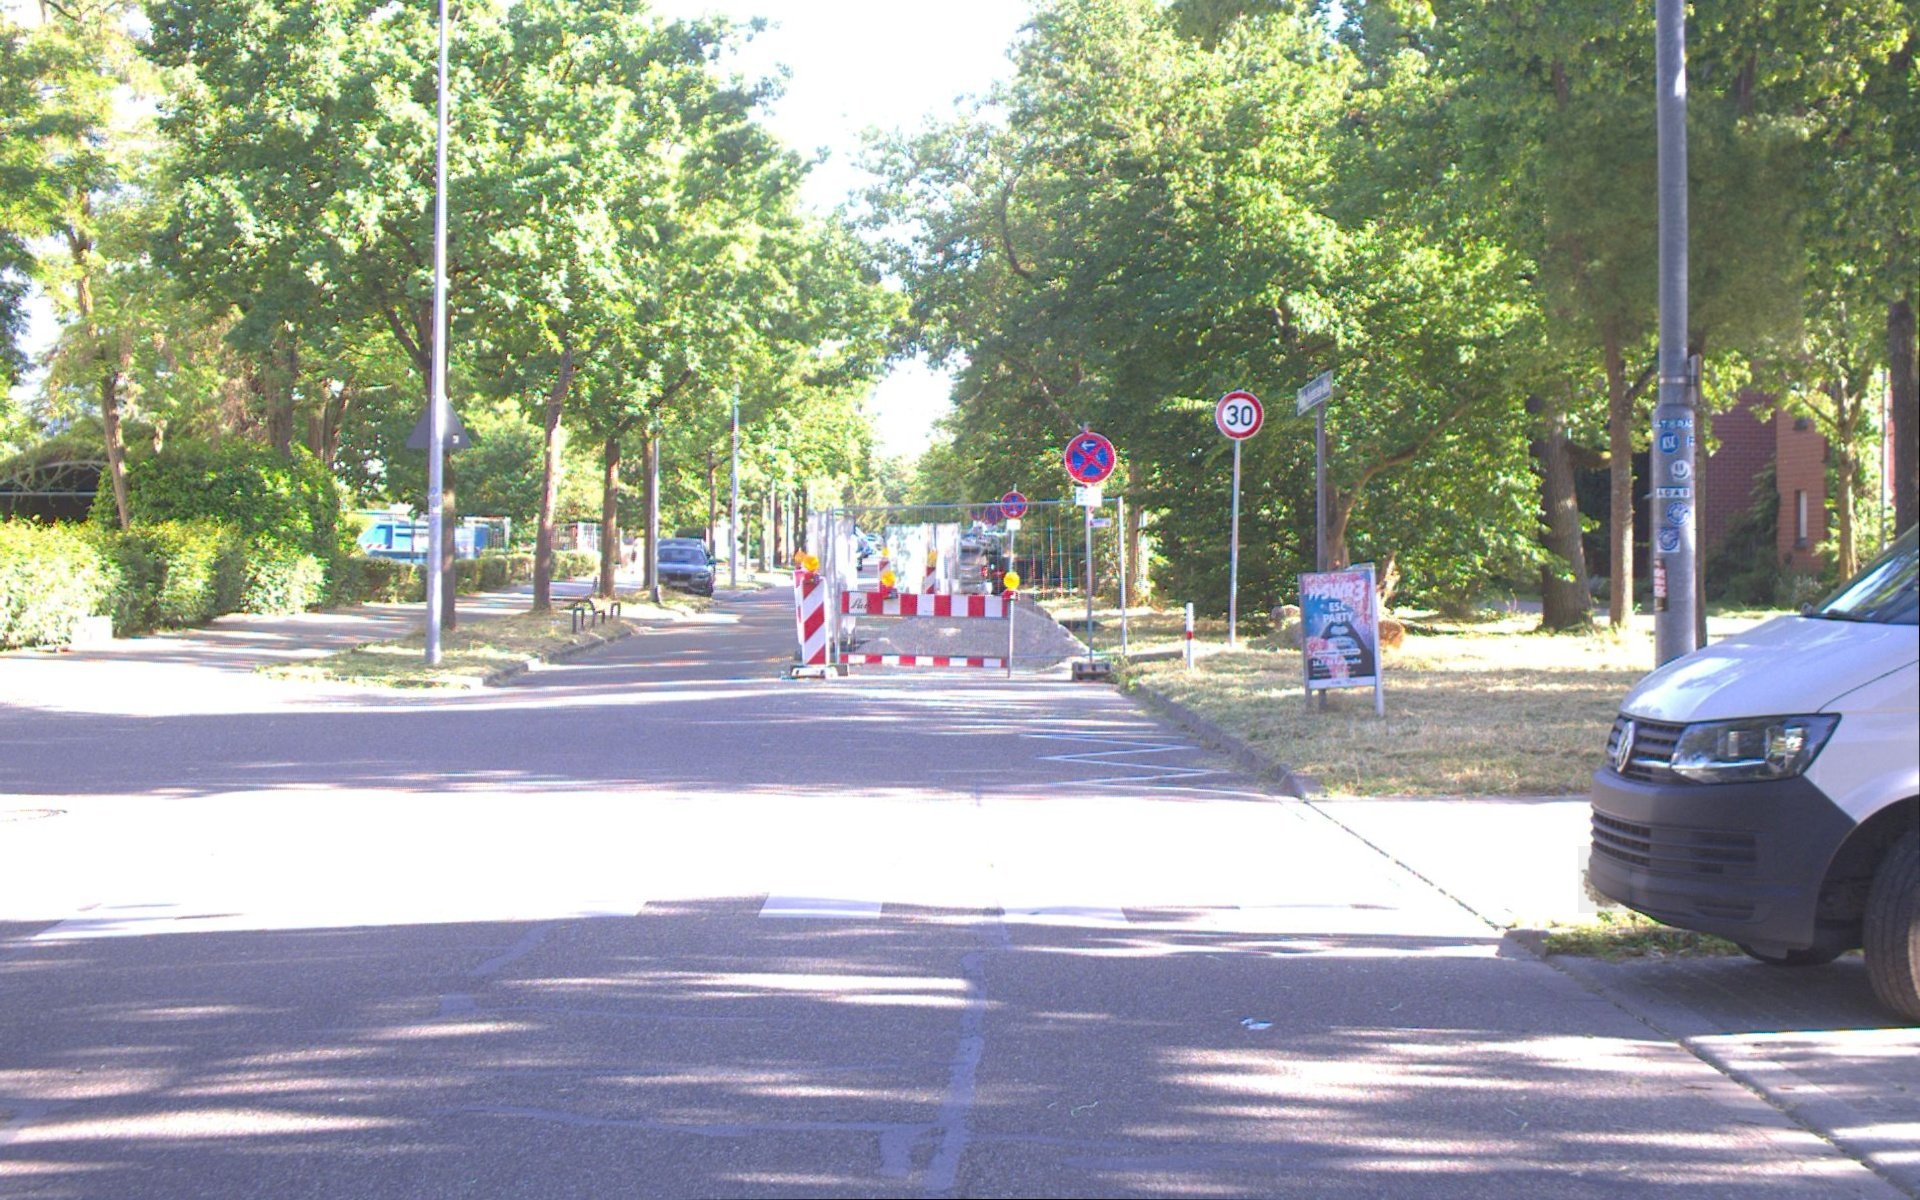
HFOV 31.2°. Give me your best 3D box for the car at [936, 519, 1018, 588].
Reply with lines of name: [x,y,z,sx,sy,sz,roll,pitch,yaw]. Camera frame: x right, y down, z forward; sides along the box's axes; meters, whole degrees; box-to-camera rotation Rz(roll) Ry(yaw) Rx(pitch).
car: [0.419,-1.190,88.537,1.993,1.711,4.000,1,1,-1]

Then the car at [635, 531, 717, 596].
car: [-7.785,-1.014,94.621,1.993,1.711,4.000,1,1,-1]

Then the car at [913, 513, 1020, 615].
car: [0.096,-0.711,67.801,1.993,1.926,4.000,1,1,-1]

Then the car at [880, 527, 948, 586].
car: [-1.413,-1.313,104.284,1.993,1.711,4.000,1,1,-1]

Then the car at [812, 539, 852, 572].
car: [-6.564,-2.291,177.145,1.993,1.711,4.000,0,1,-1]

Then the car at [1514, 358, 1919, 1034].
car: [4.682,0.281,11.791,5.186,2.098,2.083,0,0,-2]
